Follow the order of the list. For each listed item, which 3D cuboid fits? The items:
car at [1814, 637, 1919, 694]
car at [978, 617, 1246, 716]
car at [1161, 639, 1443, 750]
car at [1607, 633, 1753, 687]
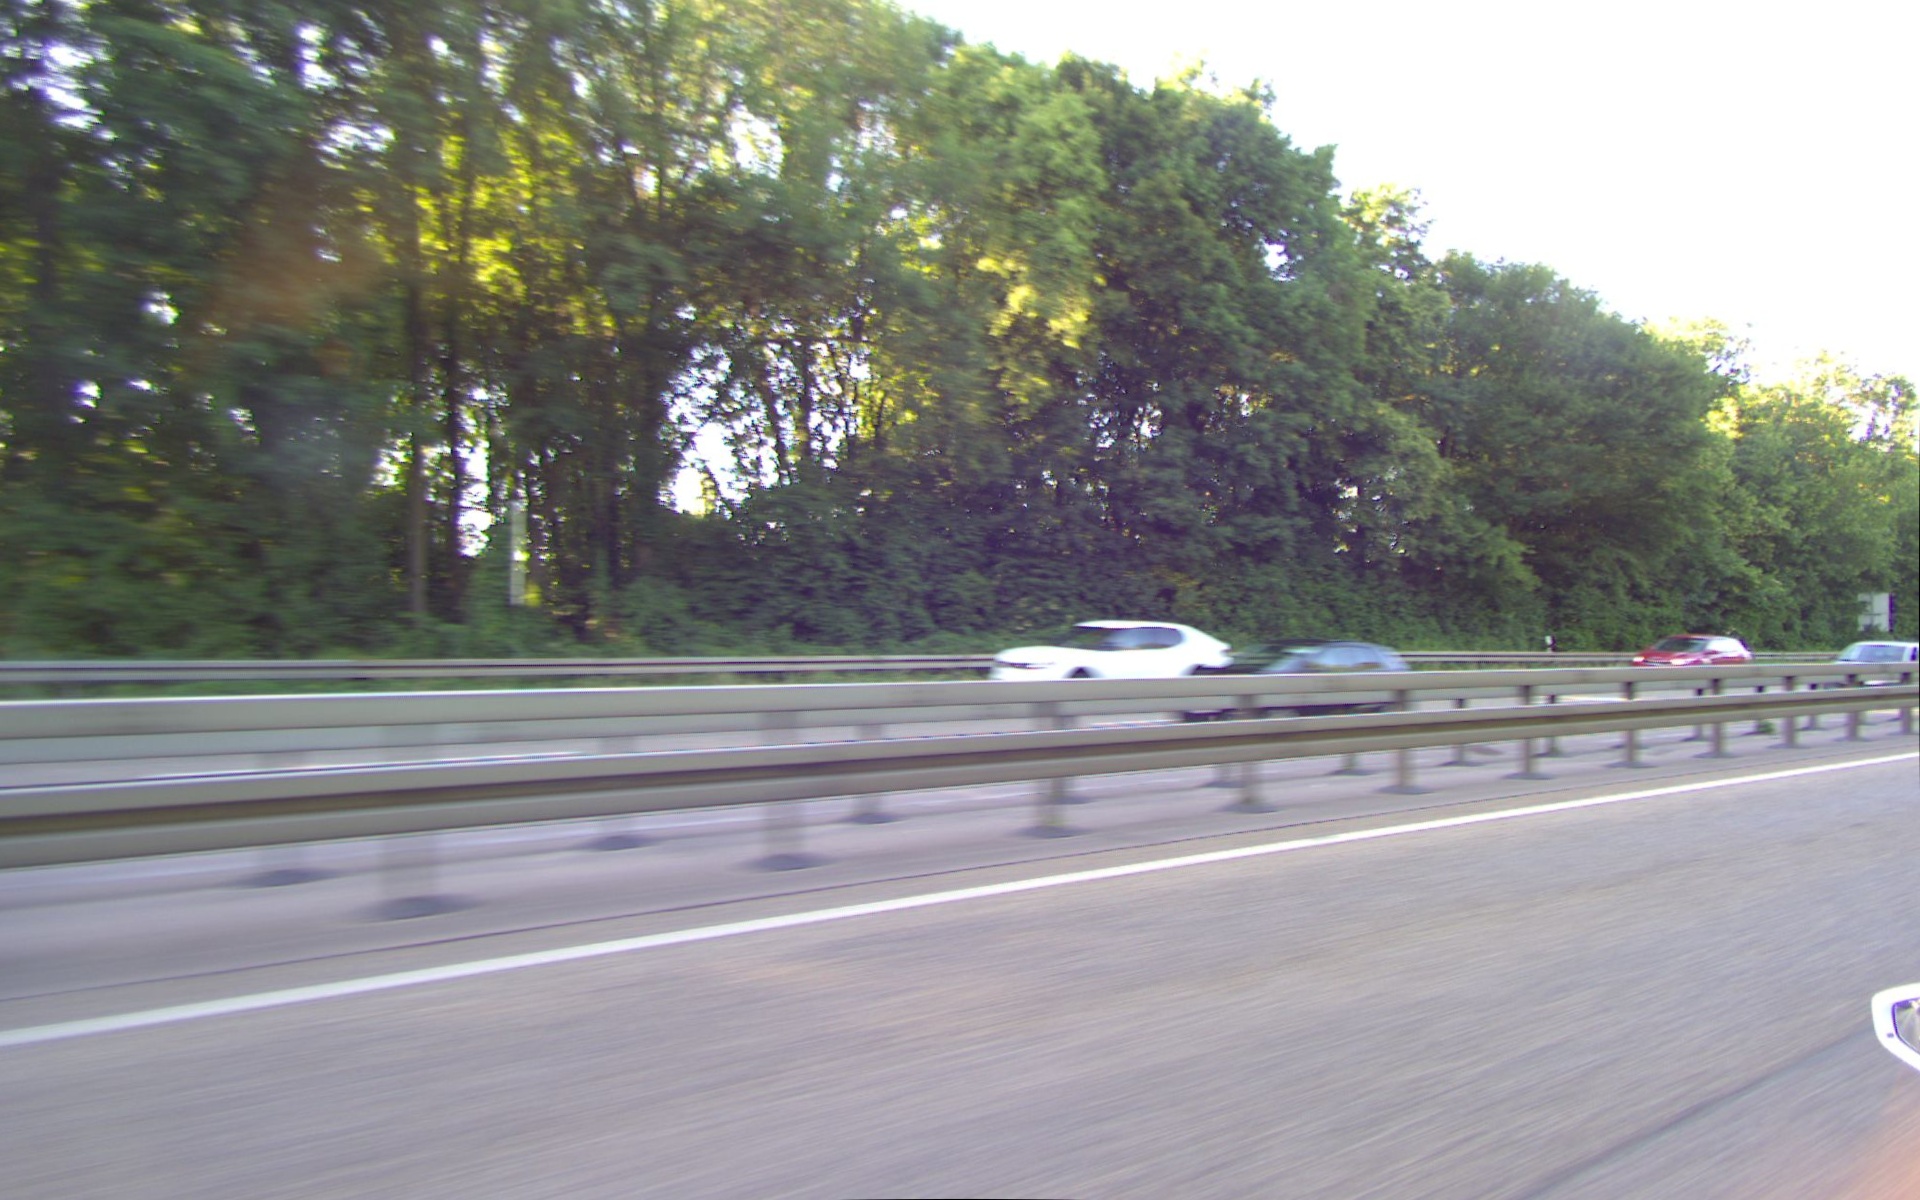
[{"bbox_3d":[24.557,1.768,26.613,4.049,1.390,1.716,4,-4,-31],"label":"car"},{"bbox_3d":[2.868,1.210,18.809,4.729,1.644,1.986,1,-3,-28],"label":"car"},{"bbox_3d":[5.180,1.348,15.143,4.044,1.487,1.718,1,-3,-28],"label":"car"},{"bbox_3d":[21.205,1.754,29.580,3.951,1.483,1.986,1,-3,-29],"label":"car"}]
